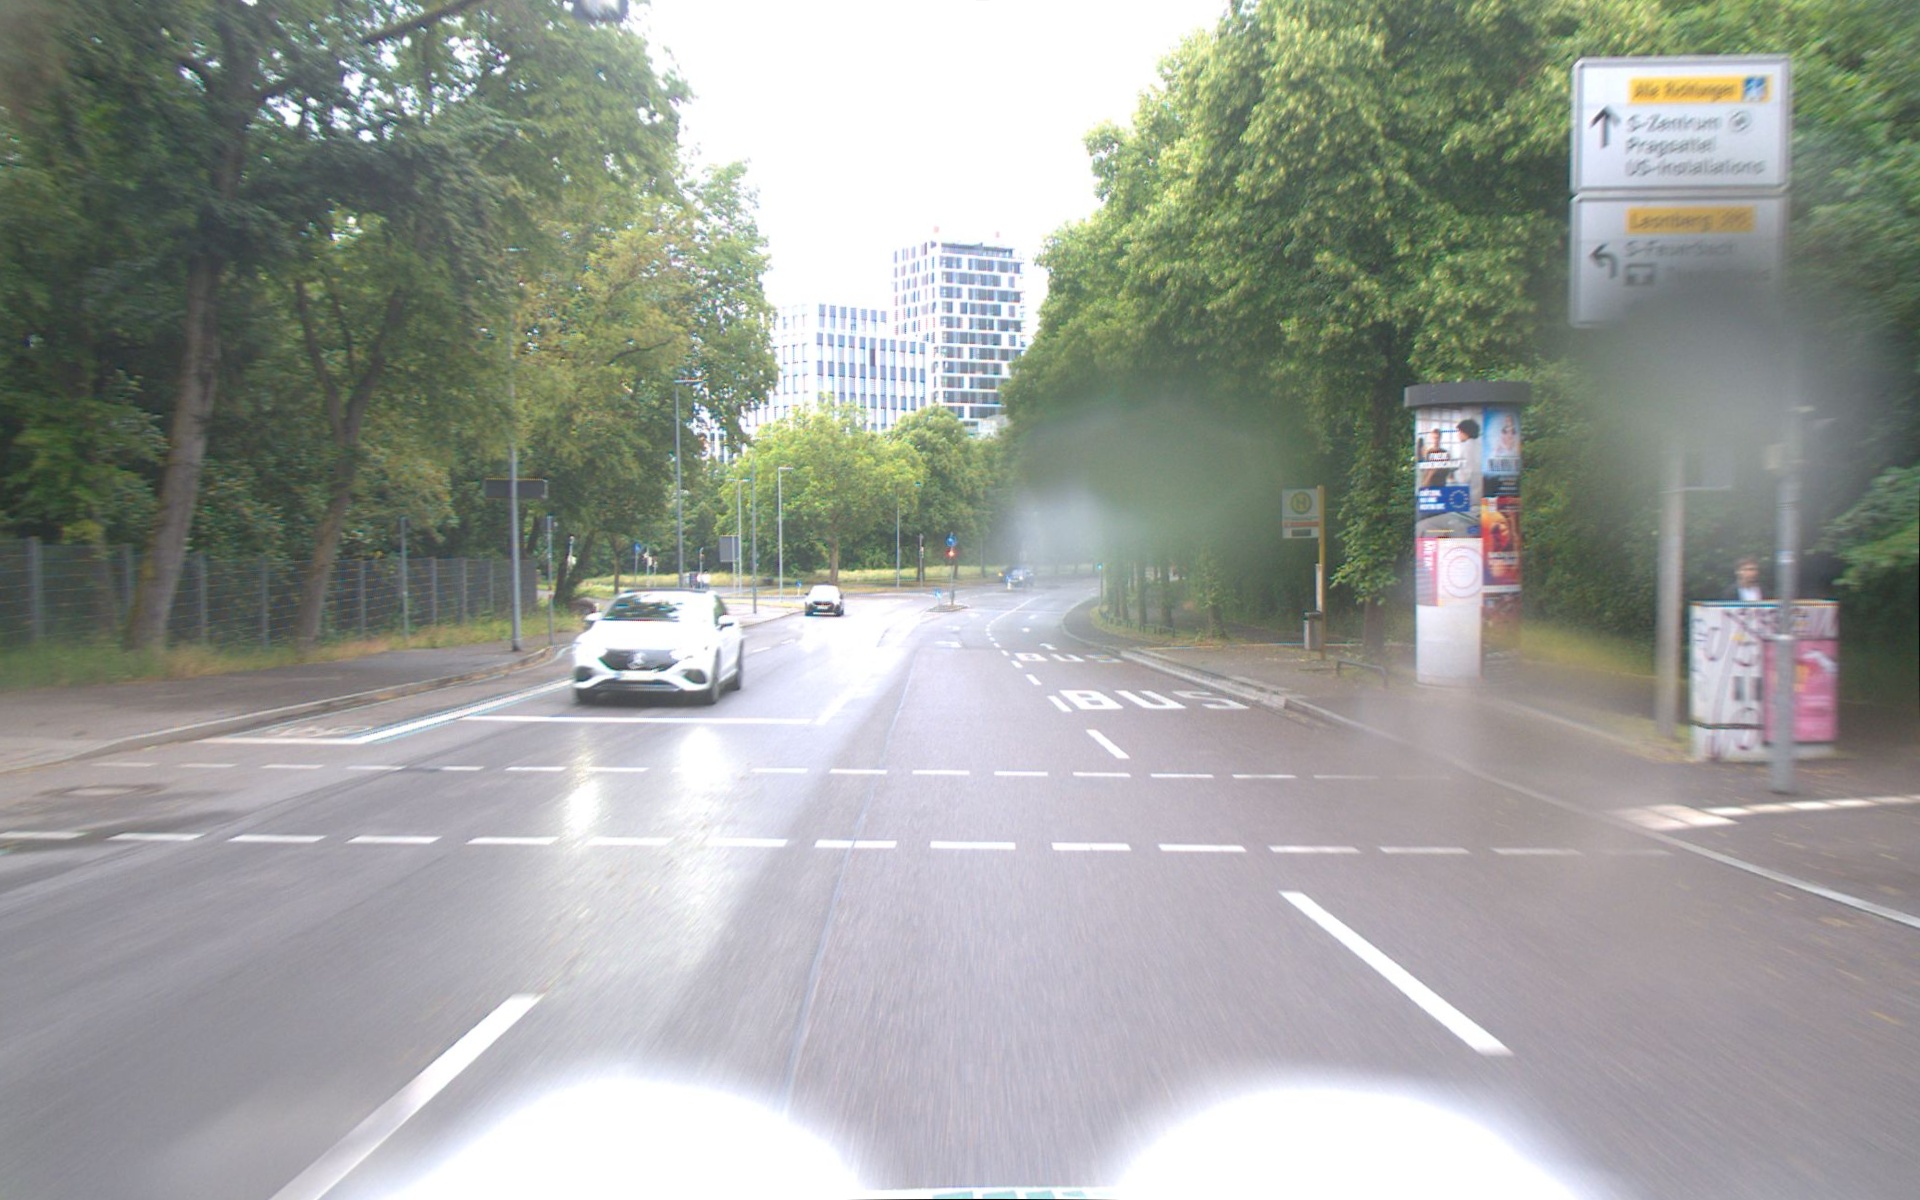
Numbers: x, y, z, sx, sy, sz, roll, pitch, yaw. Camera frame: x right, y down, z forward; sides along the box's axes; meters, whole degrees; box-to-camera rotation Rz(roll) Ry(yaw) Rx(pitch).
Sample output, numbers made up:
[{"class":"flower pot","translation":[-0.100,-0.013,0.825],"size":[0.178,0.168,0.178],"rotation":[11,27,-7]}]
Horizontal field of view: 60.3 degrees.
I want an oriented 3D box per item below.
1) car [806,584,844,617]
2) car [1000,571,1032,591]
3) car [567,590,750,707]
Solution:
[{"class":"car","translation":[-6.613,0.012,81.277],"size":[1.569,1.467,4.000],"rotation":[1,2,-1]},{"class":"car","translation":[4.856,-1.659,143.257],"size":[1.951,1.715,4.003],"rotation":[0,0,15]},{"class":"car","translation":[-4.135,0.612,23.391],"size":[1.806,1.482,4.499],"rotation":[0,0,-1]}]
